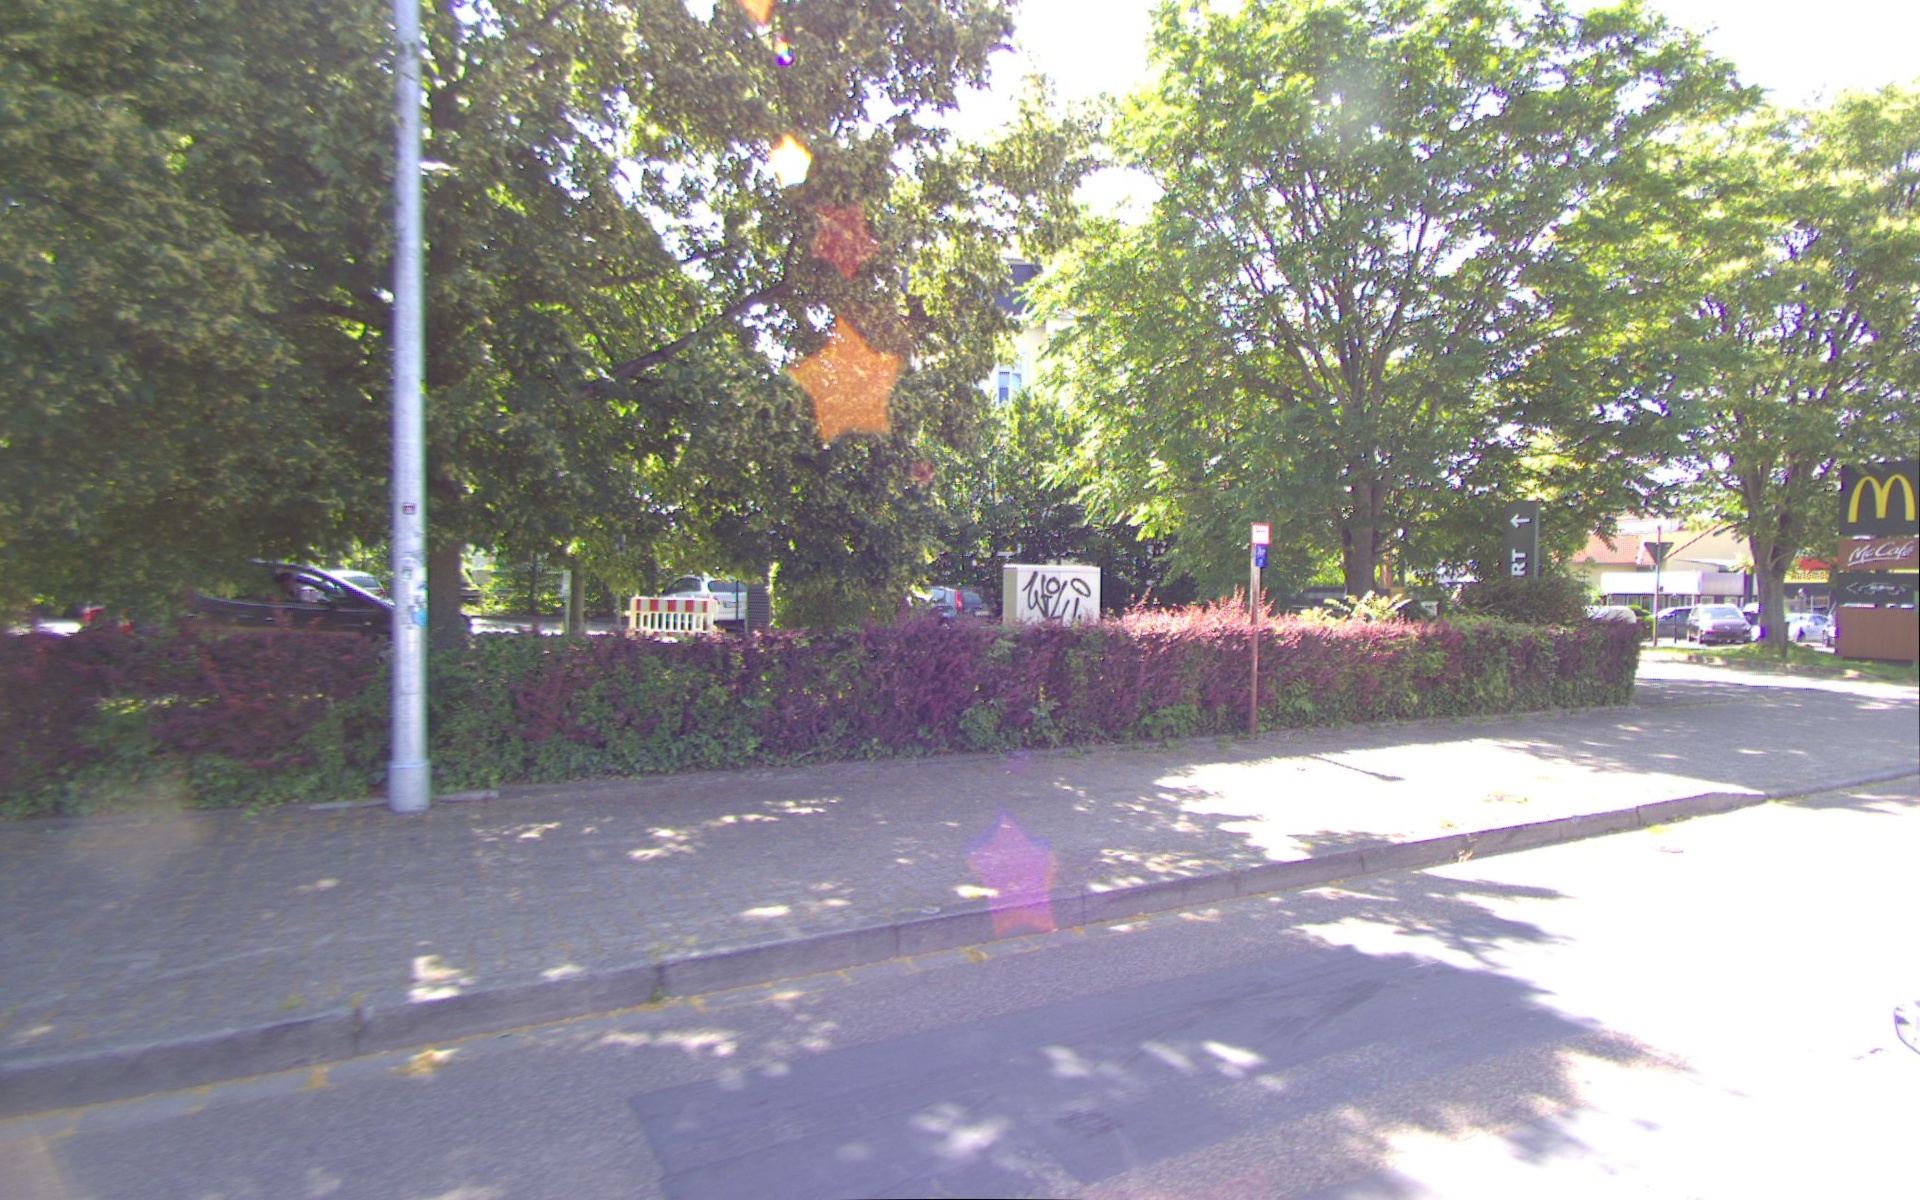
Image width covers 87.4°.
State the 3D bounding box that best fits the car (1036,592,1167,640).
[{"bbox_3d":[4.027,0.437,28.651,3.396,1.317,1.470,0,1,-20],"label":"car"}]

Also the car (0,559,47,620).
[{"bbox_3d":[-27.096,-0.318,28.242,1.782,1.619,3.956,0,1,-38],"label":"car"}]

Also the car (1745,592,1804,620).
[{"bbox_3d":[43.219,0.299,53.350,1.543,1.440,3.684,2,1,25],"label":"car"}]

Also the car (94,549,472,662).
[{"bbox_3d":[-10.075,0.069,15.443,4.597,1.530,1.775,0,1,-28],"label":"car"}]

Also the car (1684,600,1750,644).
[{"bbox_3d":[32.568,0.903,43.316,1.966,1.751,3.989,1,1,33],"label":"car"}]

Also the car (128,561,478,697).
[{"bbox_3d":[-8.576,0.344,13.528,3.705,1.624,1.676,0,1,-25],"label":"car"}]

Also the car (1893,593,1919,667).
[{"bbox_3d":[26.857,0.838,24.913,1.963,1.961,5.373,0,1,-8],"label":"car"}]

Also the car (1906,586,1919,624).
[{"bbox_3d":[49.806,0.290,50.586,1.793,1.955,3.998,2,1,23],"label":"car"}]

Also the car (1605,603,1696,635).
[{"bbox_3d":[34.053,0.906,49.662,3.625,1.440,1.568,2,1,34],"label":"car"}]

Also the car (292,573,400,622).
[{"bbox_3d":[-17.991,-0.102,29.371,3.940,1.356,1.578,1,1,41],"label":"car"}]

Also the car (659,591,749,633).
[{"bbox_3d":[-7.509,0.323,29.276,1.393,1.105,3.355,0,1,-37],"label":"car"}]

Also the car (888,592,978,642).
[{"bbox_3d":[-0.832,0.442,28.640,1.609,1.317,3.592,0,1,-18],"label":"car"}]

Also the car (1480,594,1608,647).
[{"bbox_3d":[18.678,0.616,32.335,1.784,1.553,4.000,1,1,0],"label":"car"}]
